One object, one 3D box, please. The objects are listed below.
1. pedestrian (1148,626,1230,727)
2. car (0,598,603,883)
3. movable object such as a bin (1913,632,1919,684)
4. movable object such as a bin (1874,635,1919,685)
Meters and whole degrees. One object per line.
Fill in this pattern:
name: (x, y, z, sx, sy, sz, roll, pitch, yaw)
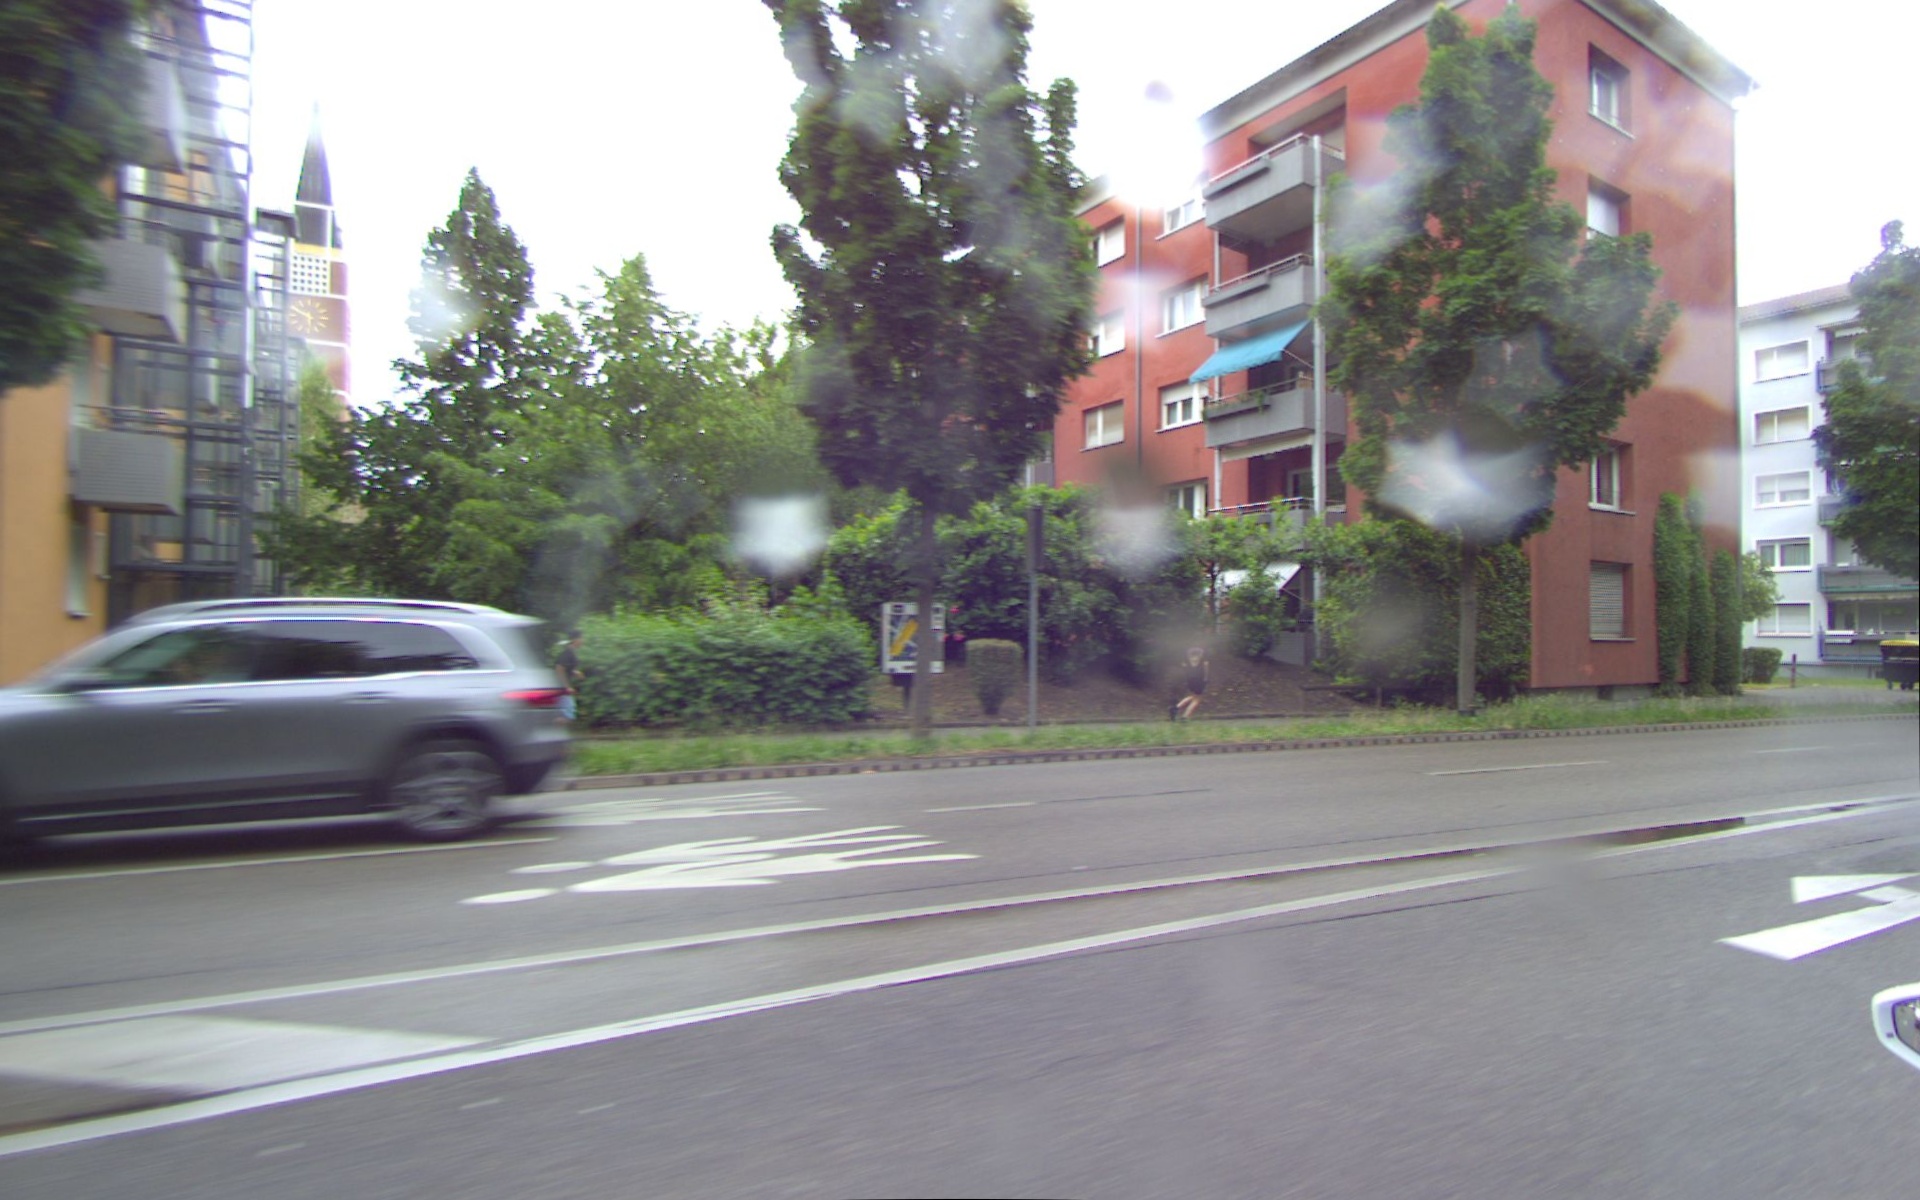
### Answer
pedestrian: (3.616, 1.184, 15.867, 1.056, 1.537, 0.690, 1, -2, -27)
car: (-4.996, 0.890, 7.199, 4.441, 1.652, 1.917, 1, -4, -26)
movable object such as a bin: (28.435, 1.651, 28.577, 2.058, 1.504, 1.212, 1, -2, -23)
movable object such as a bin: (26.468, 1.644, 27.715, 1.938, 1.349, 1.155, 1, -2, -23)
